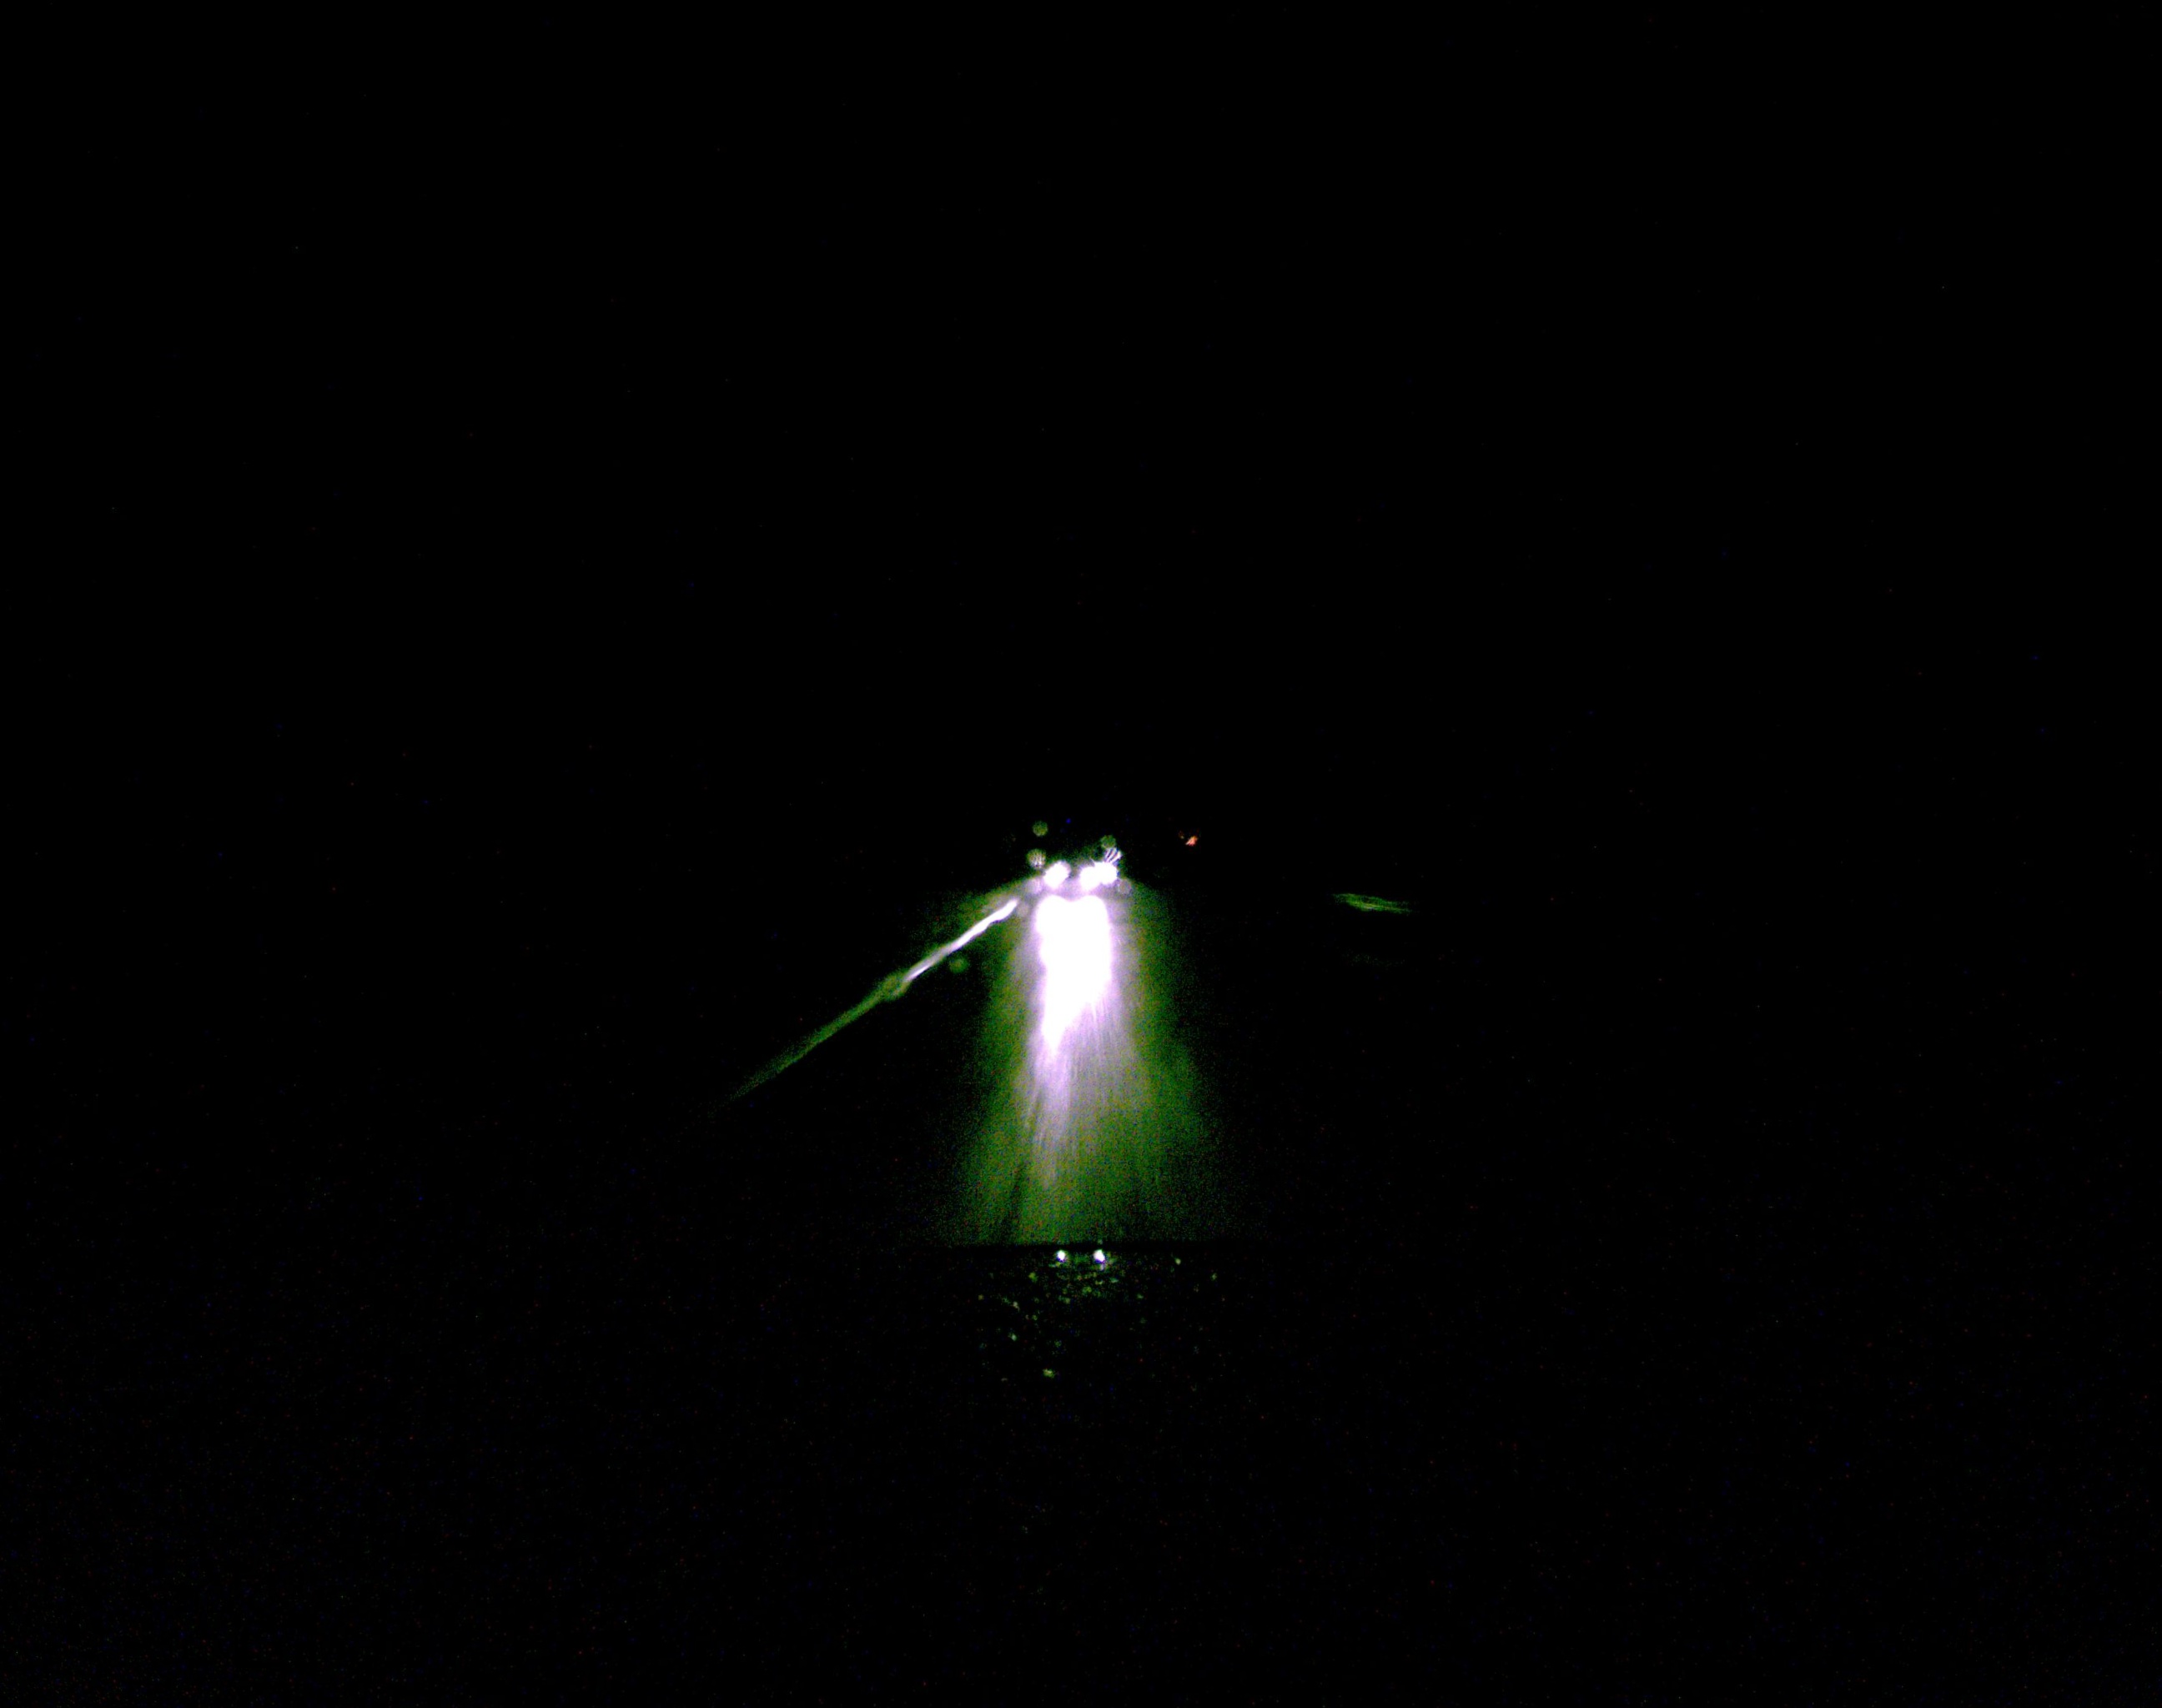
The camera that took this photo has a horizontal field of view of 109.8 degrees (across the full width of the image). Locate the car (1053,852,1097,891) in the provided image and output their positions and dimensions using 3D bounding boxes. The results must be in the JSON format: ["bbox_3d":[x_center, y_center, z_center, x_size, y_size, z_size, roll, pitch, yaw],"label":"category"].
[{"bbox_3d":[-0.280,0.740,32.907,1.793,1.593,4.000,0,-1,-1],"label":"car"}]
